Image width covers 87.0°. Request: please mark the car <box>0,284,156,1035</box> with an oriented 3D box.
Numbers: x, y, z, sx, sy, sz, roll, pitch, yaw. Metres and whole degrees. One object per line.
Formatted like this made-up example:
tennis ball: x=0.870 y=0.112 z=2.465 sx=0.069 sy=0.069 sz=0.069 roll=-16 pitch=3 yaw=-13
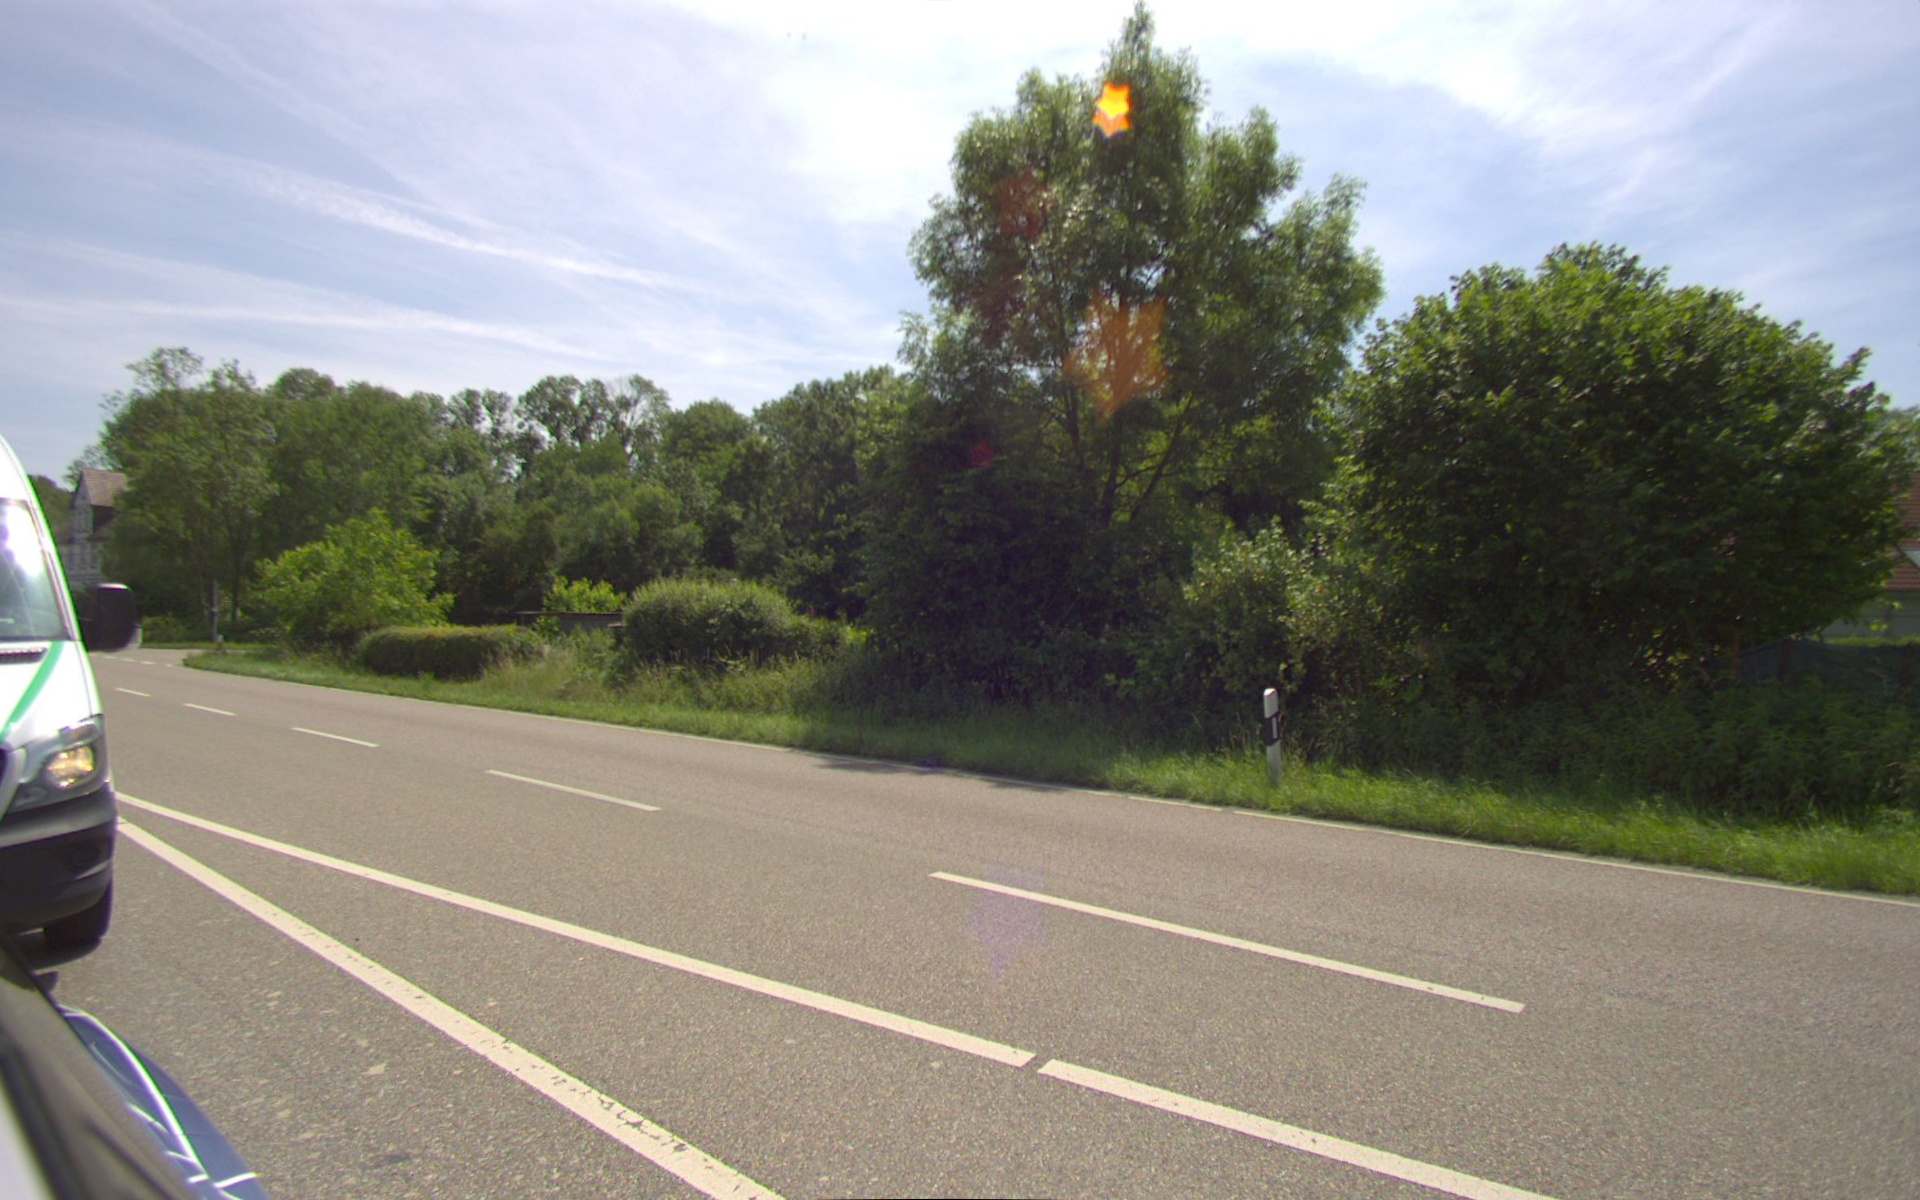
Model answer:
car: x=-5.966 y=0.246 z=4.997 sx=5.674 sy=2.691 sz=1.937 roll=-1 pitch=-1 yaw=39
